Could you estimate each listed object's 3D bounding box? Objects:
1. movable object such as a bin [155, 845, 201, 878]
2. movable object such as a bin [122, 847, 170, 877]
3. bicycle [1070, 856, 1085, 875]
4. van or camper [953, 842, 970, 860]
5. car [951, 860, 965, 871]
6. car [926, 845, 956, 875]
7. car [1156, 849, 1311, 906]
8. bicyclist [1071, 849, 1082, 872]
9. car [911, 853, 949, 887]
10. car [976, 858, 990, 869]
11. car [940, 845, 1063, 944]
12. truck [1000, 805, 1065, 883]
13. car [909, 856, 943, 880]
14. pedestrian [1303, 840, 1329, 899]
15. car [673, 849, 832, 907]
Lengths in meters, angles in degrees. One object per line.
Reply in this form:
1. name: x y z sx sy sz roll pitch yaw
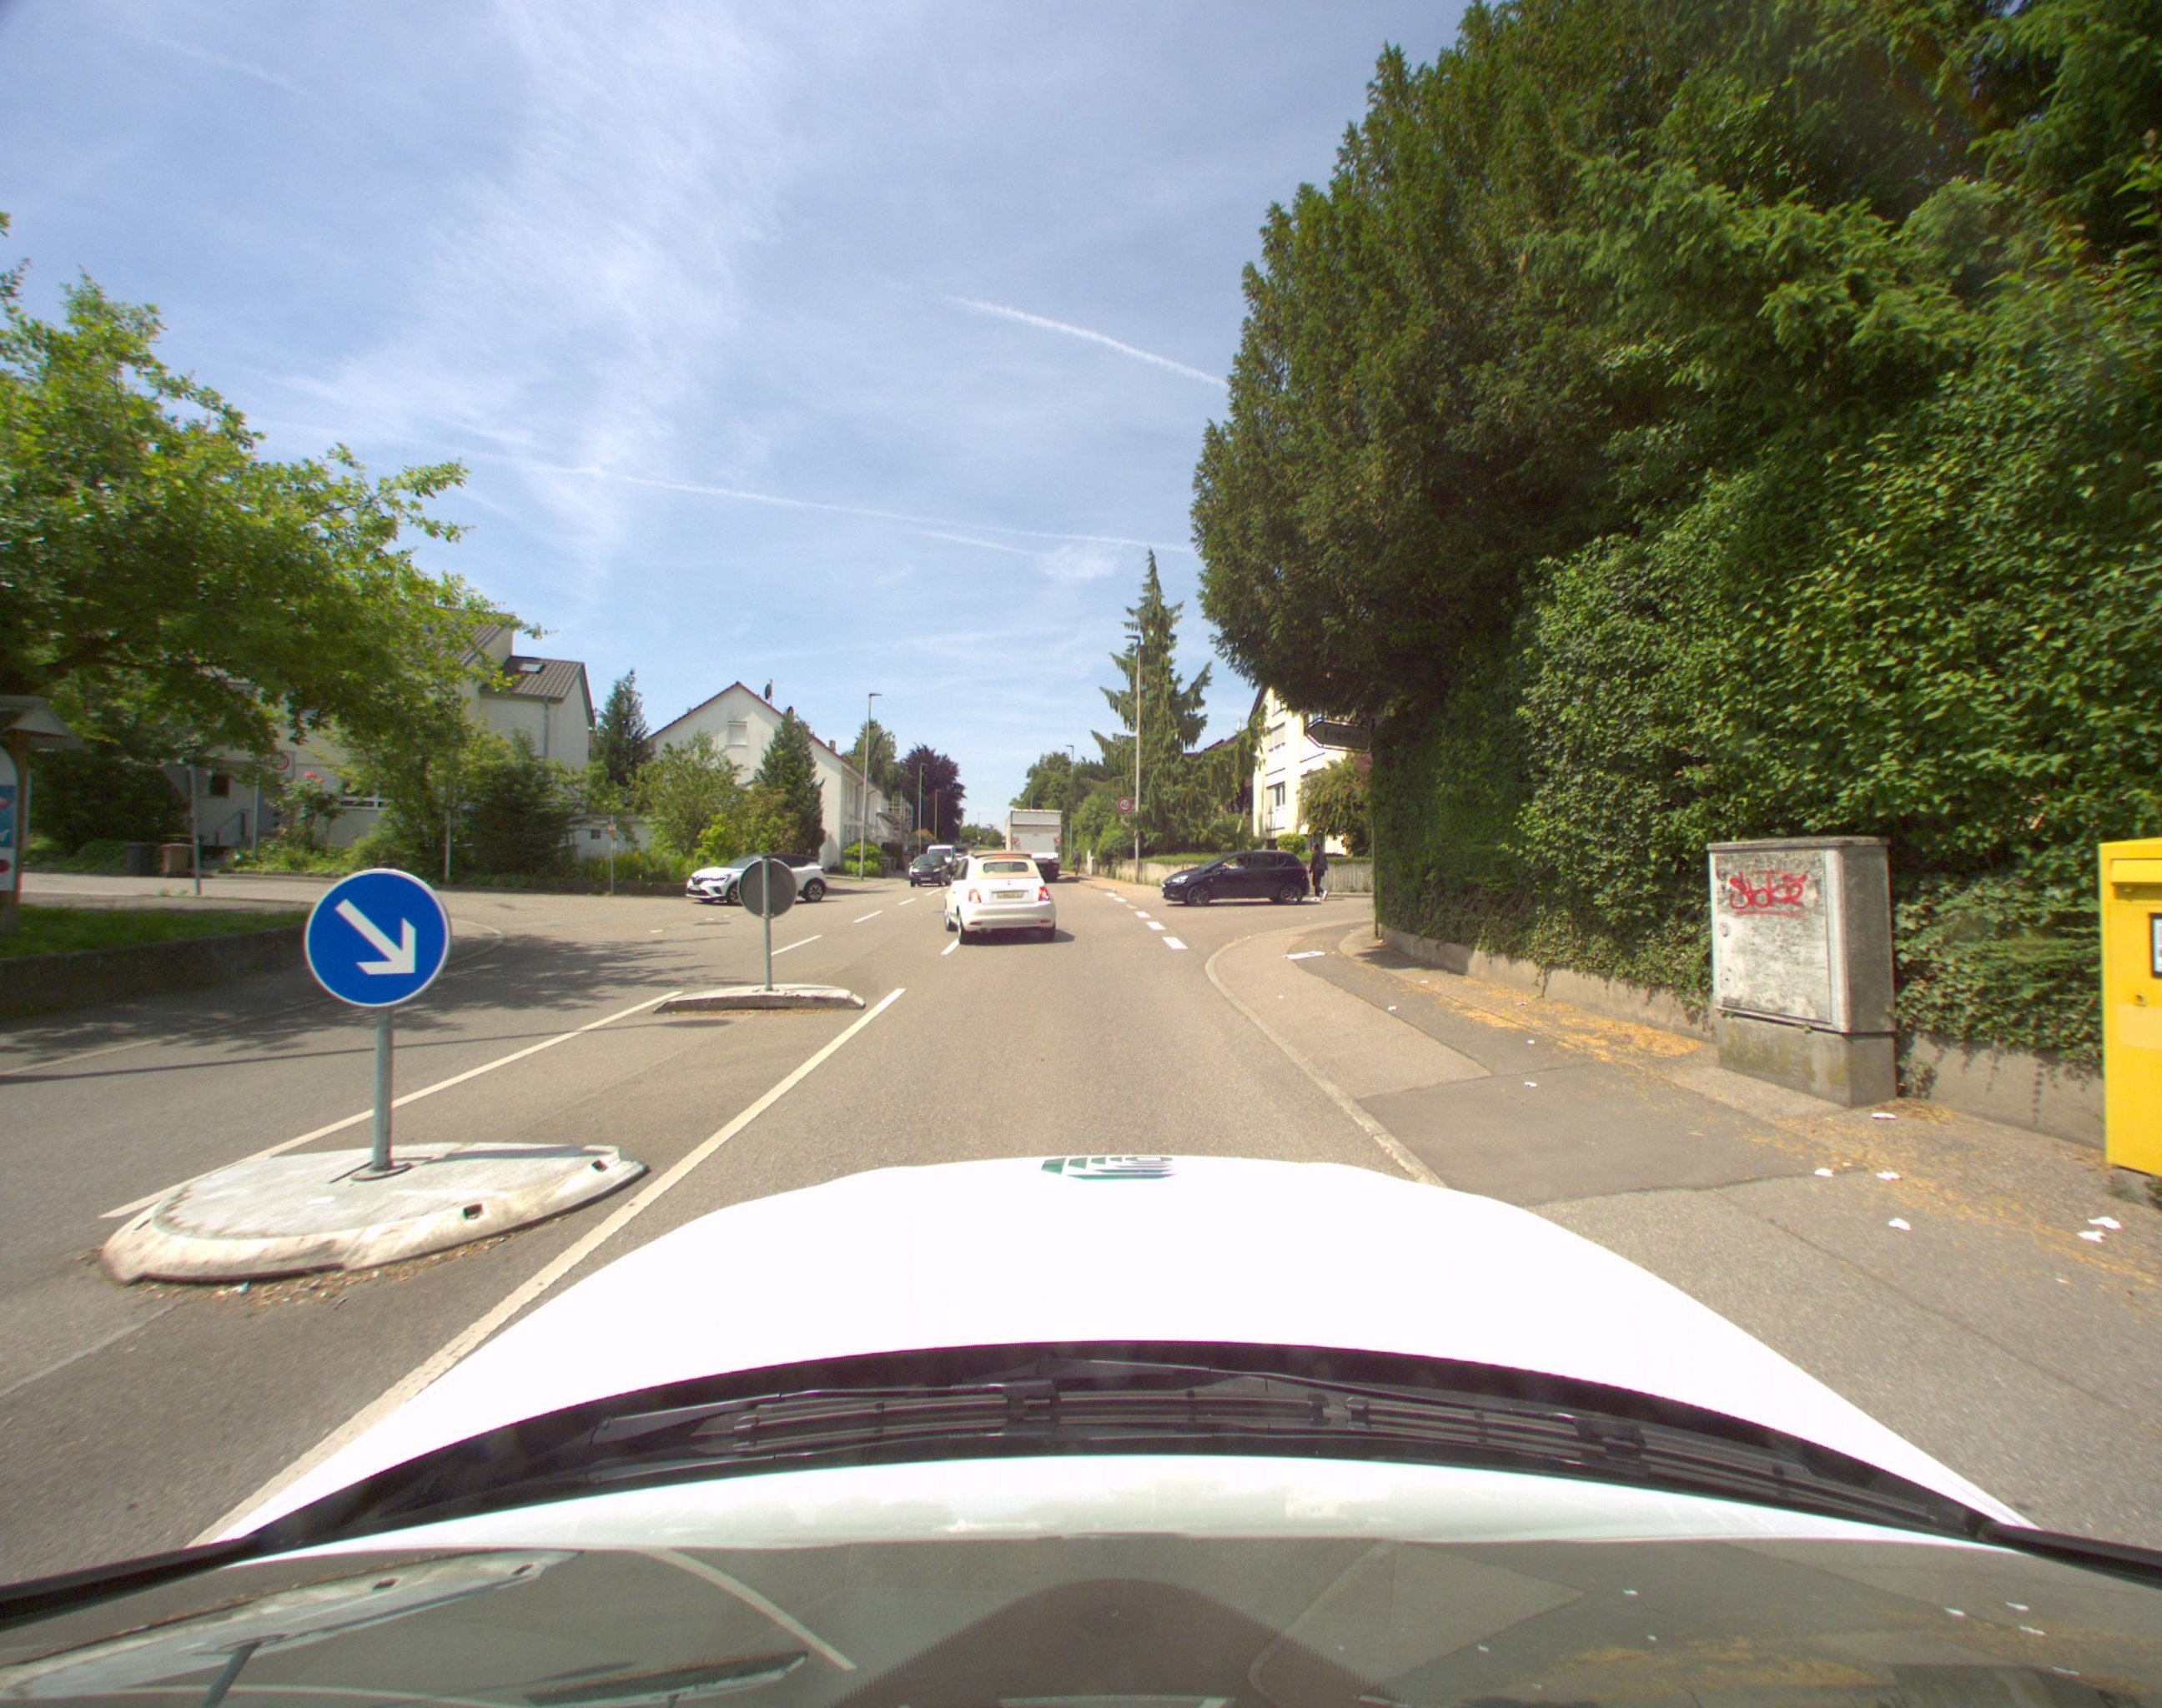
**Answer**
1. movable object such as a bin: -24.874 0.207 22.447 0.574 0.890 0.593 2 0 6
2. movable object such as a bin: -25.912 0.208 22.570 0.635 0.810 0.605 1 0 5
3. bicycle: -0.230 0.695 50.083 0.667 1.104 2.420 1 0 -6
4. van or camper: -19.998 -0.493 136.400 2.260 2.962 5.881 1 0 -4
5. car: -17.131 1.626 113.506 1.473 1.494 3.079 0 0 -1
6. car: -10.609 0.440 62.110 2.035 2.200 5.568 0 0 -7
7. car: 4.102 0.605 22.319 3.923 1.458 1.657 -1 0 -2
8. bicyclist: -0.303 0.413 50.212 0.587 1.412 0.740 1 0 -6
9. car: -7.141 0.724 38.751 1.478 1.510 2.796 -1 0 -5
10. car: -13.898 1.293 115.278 1.831 1.534 3.991 1 0 -6
11. car: -1.598 0.645 15.063 1.727 1.560 3.981 -1 0 -14
12. truck: -2.758 -0.469 43.702 3.065 3.774 7.849 0 0 -7
13. car: -9.558 0.841 50.421 1.803 1.398 3.990 0 0 -7
14. pedestrian: 6.767 0.427 23.419 0.690 1.671 0.572 0 0 18
15. car: -9.849 0.744 24.739 1.766 1.529 4.196 3 -1 31
